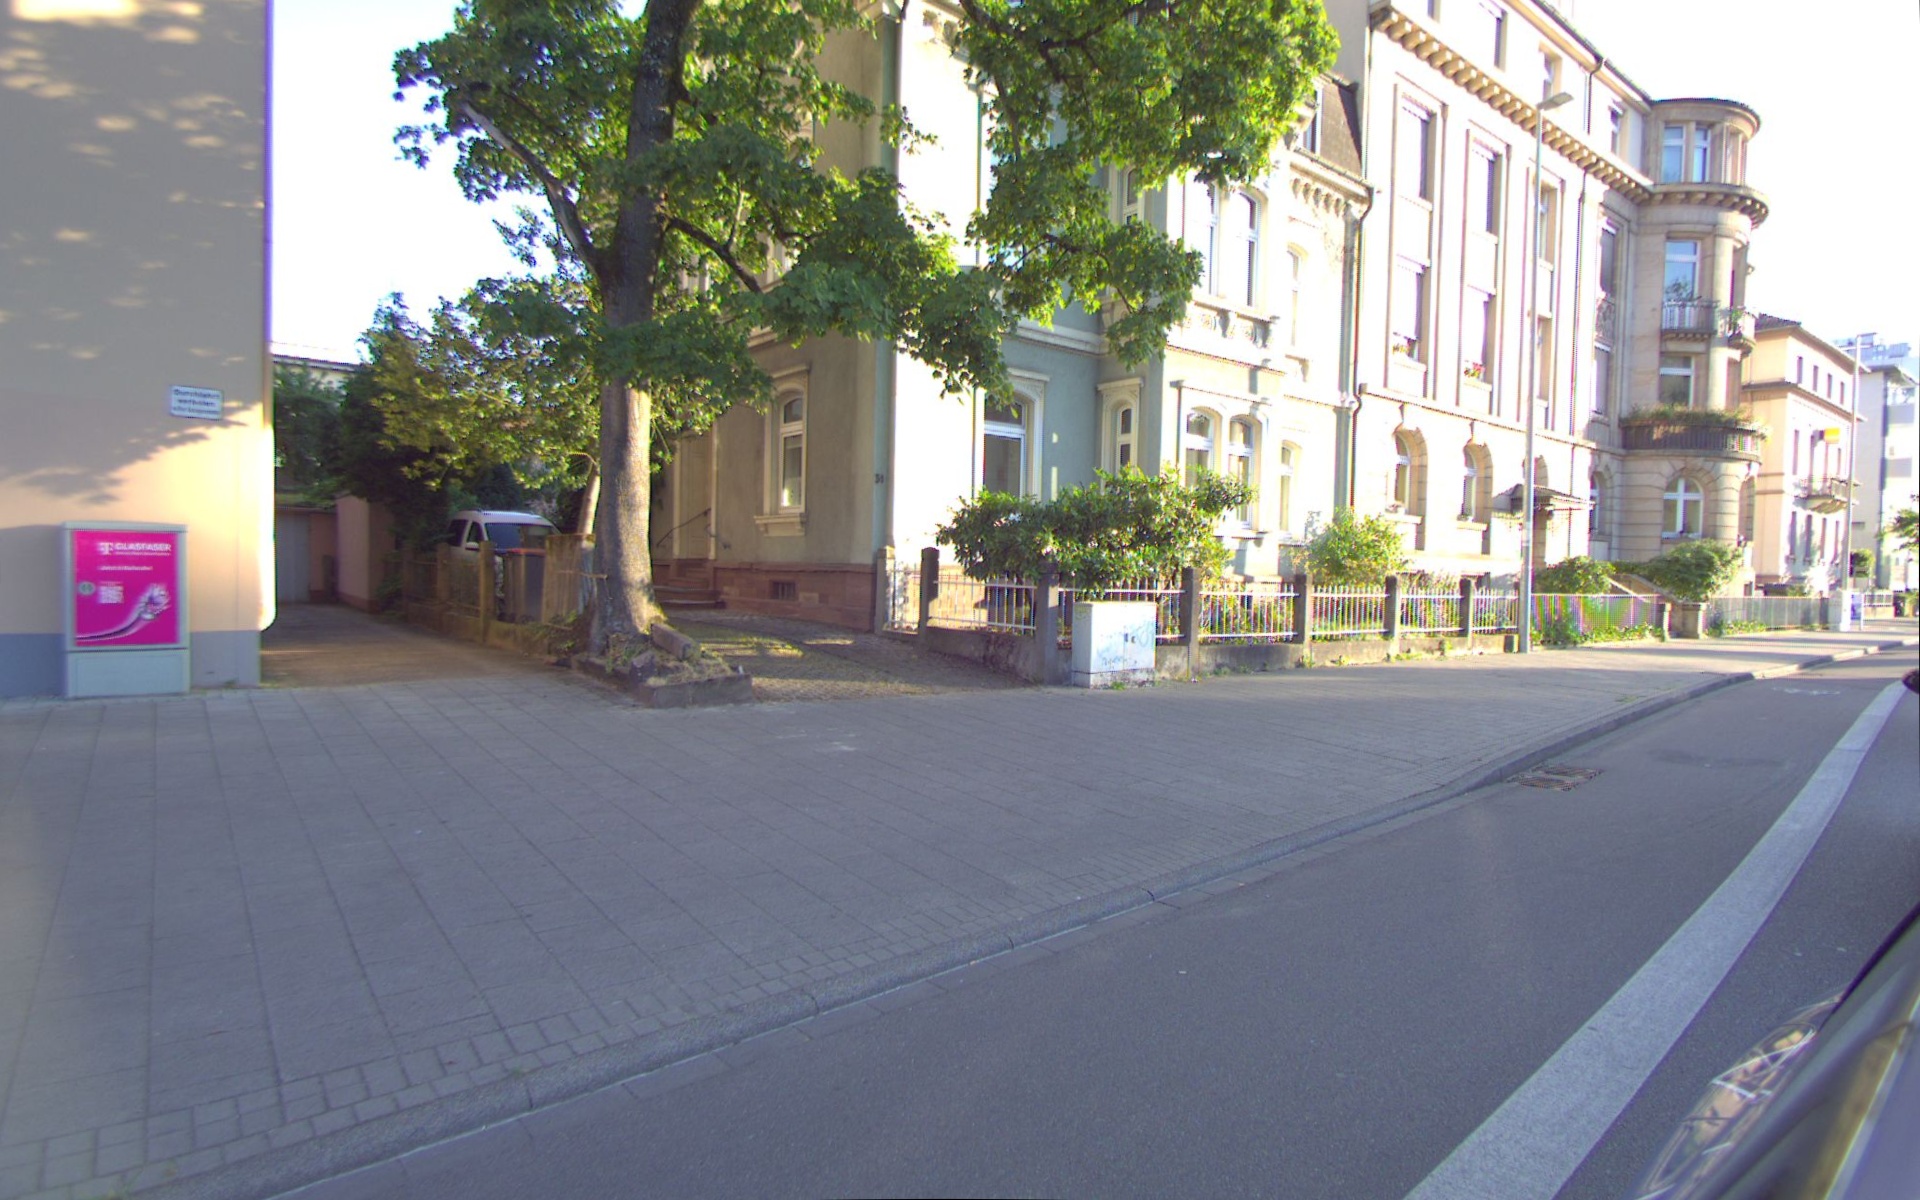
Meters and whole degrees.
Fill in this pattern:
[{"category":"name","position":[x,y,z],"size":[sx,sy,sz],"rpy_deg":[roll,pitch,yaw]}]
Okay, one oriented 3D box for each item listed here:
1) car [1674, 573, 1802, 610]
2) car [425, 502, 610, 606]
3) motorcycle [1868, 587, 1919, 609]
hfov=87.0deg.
[{"category":"car","position":[34.034,-0.412,44.342],"size":[1.903,1.499,4.098],"rpy_deg":[0,2,-38]},{"category":"car","position":[-8.662,-0.929,19.585],"size":[1.795,1.778,4.513],"rpy_deg":[1,3,-44]},{"category":"motorcycle","position":[48.292,-0.117,52.349],"size":[0.564,1.110,1.851],"rpy_deg":[0,1,-33]}]
